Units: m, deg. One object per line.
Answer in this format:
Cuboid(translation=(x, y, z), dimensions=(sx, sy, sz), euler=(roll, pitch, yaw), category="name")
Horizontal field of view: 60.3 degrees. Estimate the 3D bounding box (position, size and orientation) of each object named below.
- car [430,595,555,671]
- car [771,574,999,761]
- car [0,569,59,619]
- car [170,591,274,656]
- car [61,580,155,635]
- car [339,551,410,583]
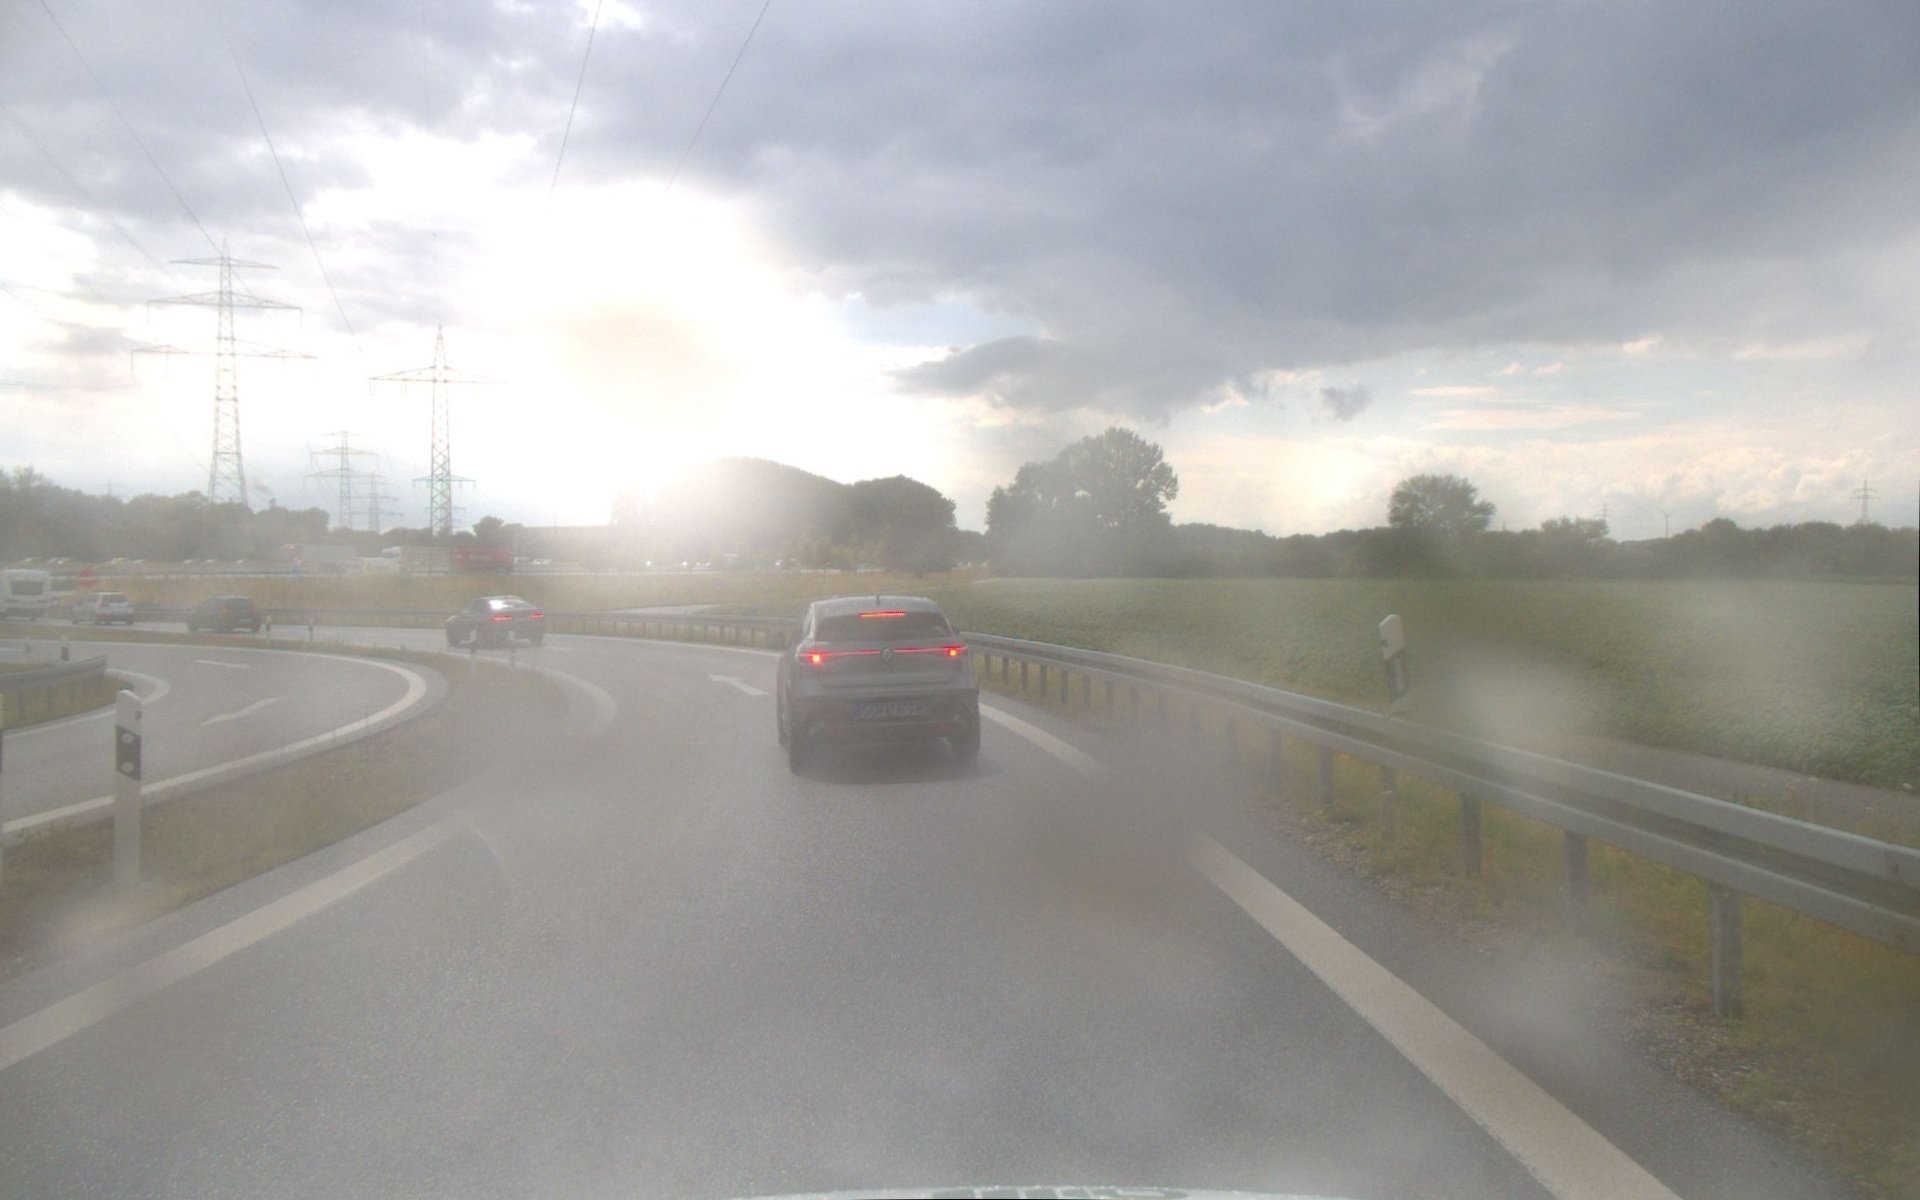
Cuboid(translation=(-14.913, 0.997, 52.537), dimensions=(2.104, 2.053, 5.466), euler=(-1, 3, -35), category="car")
Cuboid(translation=(-0.888, 0.555, 16.640), dimensions=(1.956, 1.593, 4.143), euler=(-1, 1, -7), category="car")
Cuboid(translation=(-49.303, -0.362, 86.982), dimensions=(2.338, 2.346, 5.052), euler=(-2, 4, -41), category="car")
Cuboid(translation=(-30.706, 0.908, 68.720), dimensions=(2.342, 2.346, 5.045), euler=(-2, 4, -44), category="car")
Cuboid(translation=(-40.834, 0.303, 79.209), dimensions=(5.038, 2.346, 2.345), euler=(3, 4, 42), category="car")
Cuboid(translation=(-68.235, -3.787, 193.000), dimensions=(3.311, 3.673, 9.053), euler=(0, 1, 14), category="car")
